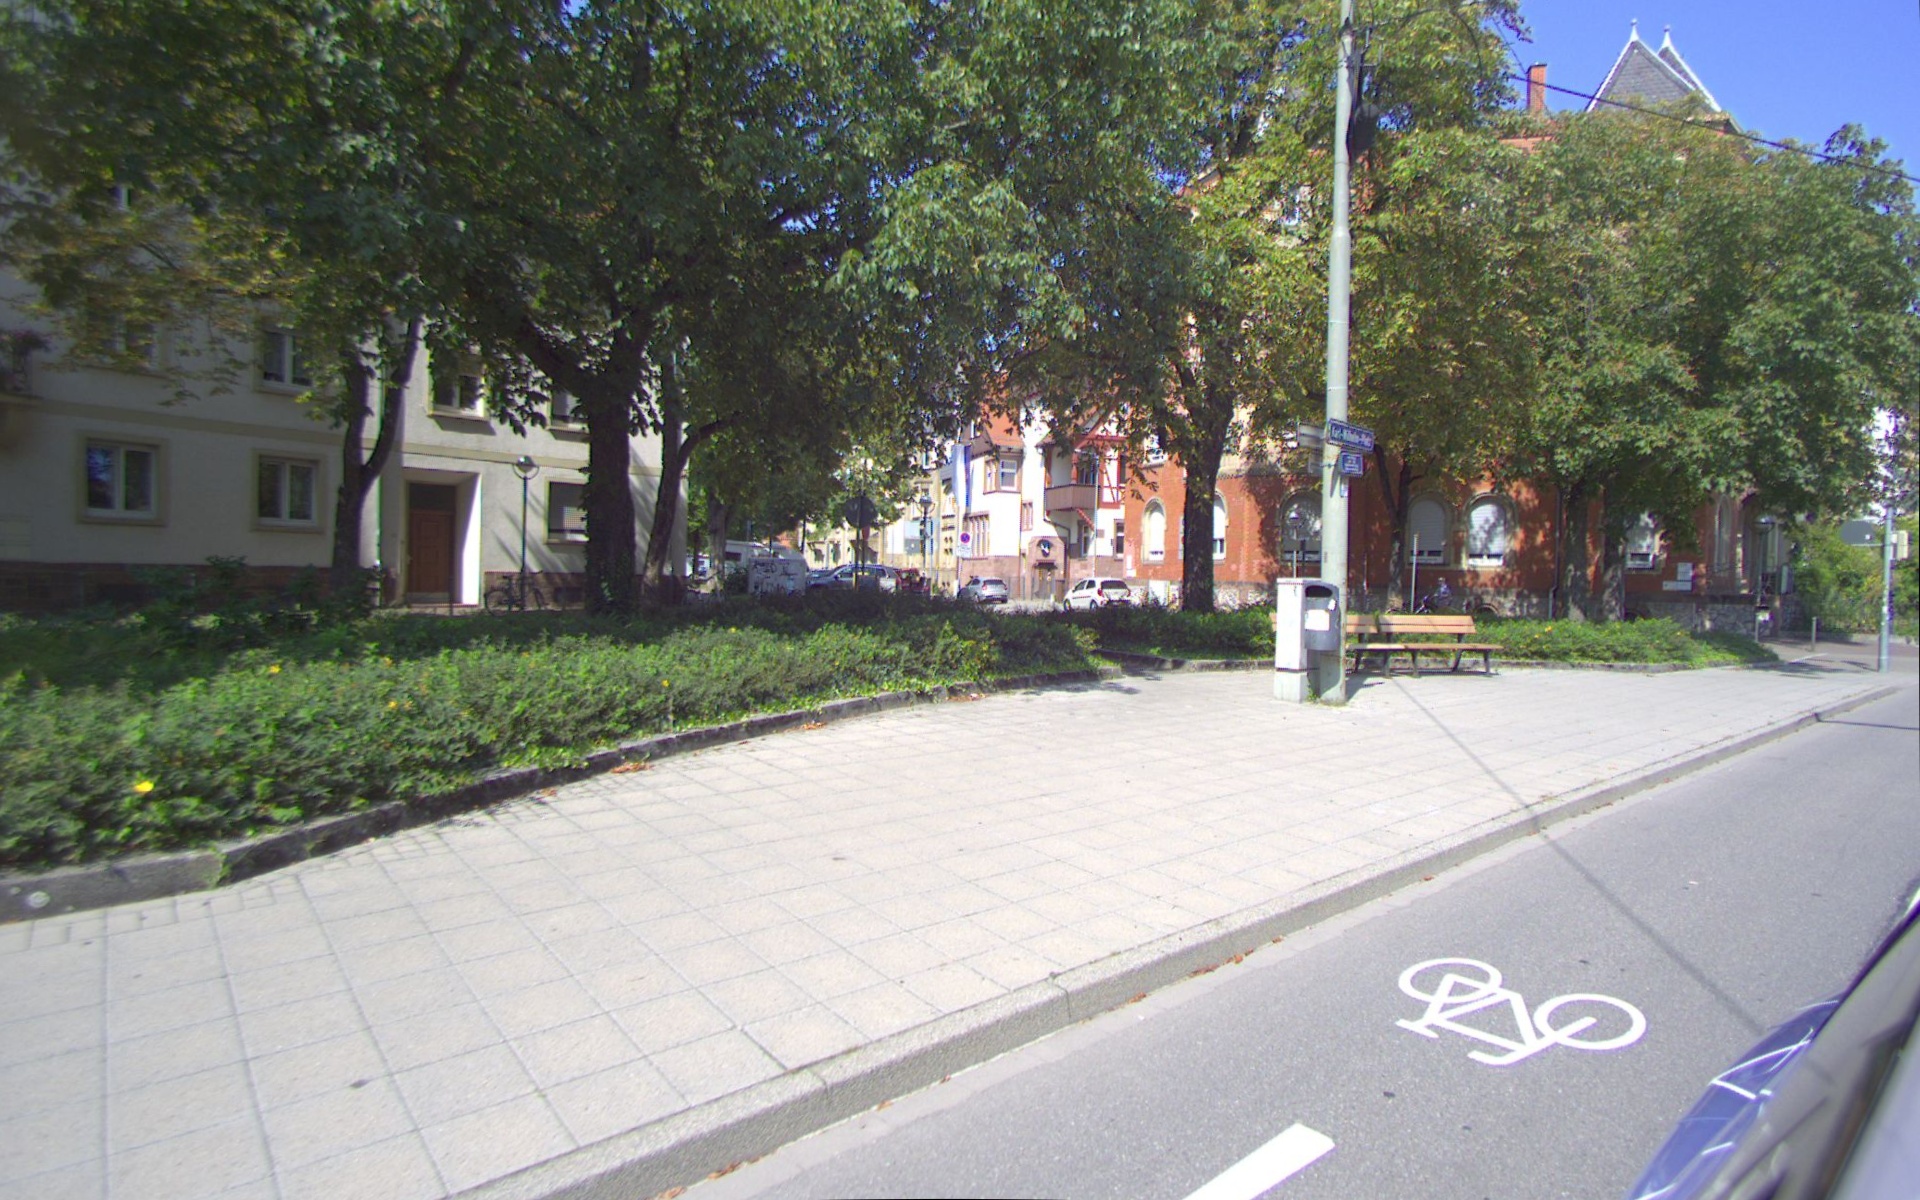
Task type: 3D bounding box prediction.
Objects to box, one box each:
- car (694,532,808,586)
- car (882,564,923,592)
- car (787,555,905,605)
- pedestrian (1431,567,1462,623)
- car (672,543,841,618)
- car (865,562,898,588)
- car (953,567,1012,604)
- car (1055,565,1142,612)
[{"bbox_3d":[-12.453,-2.403,60.391,6.350,3.013,1.808,1,1,-23],"label":"car"},{"bbox_3d":[-3.953,-1.523,69.137,1.766,1.834,4.427,1,2,-17],"label":"car"},{"bbox_3d":[-4.458,-0.768,39.324,4.323,1.834,1.808,1,1,-14],"label":"car"},{"bbox_3d":[16.674,-0.182,34.711,0.664,1.908,0.921,1,1,9],"label":"pedestrian"},{"bbox_3d":[-5.492,-0.546,27.566,4.325,1.834,1.808,1,2,-9],"label":"car"},{"bbox_3d":[-5.768,-1.838,74.070,1.766,1.834,4.426,1,1,-13],"label":"car"},{"bbox_3d":[1.156,-0.791,53.681,1.766,1.834,4.427,1,2,-17],"label":"car"},{"bbox_3d":[5.608,-0.515,41.568,1.766,1.834,4.427,1,2,-17],"label":"car"}]
